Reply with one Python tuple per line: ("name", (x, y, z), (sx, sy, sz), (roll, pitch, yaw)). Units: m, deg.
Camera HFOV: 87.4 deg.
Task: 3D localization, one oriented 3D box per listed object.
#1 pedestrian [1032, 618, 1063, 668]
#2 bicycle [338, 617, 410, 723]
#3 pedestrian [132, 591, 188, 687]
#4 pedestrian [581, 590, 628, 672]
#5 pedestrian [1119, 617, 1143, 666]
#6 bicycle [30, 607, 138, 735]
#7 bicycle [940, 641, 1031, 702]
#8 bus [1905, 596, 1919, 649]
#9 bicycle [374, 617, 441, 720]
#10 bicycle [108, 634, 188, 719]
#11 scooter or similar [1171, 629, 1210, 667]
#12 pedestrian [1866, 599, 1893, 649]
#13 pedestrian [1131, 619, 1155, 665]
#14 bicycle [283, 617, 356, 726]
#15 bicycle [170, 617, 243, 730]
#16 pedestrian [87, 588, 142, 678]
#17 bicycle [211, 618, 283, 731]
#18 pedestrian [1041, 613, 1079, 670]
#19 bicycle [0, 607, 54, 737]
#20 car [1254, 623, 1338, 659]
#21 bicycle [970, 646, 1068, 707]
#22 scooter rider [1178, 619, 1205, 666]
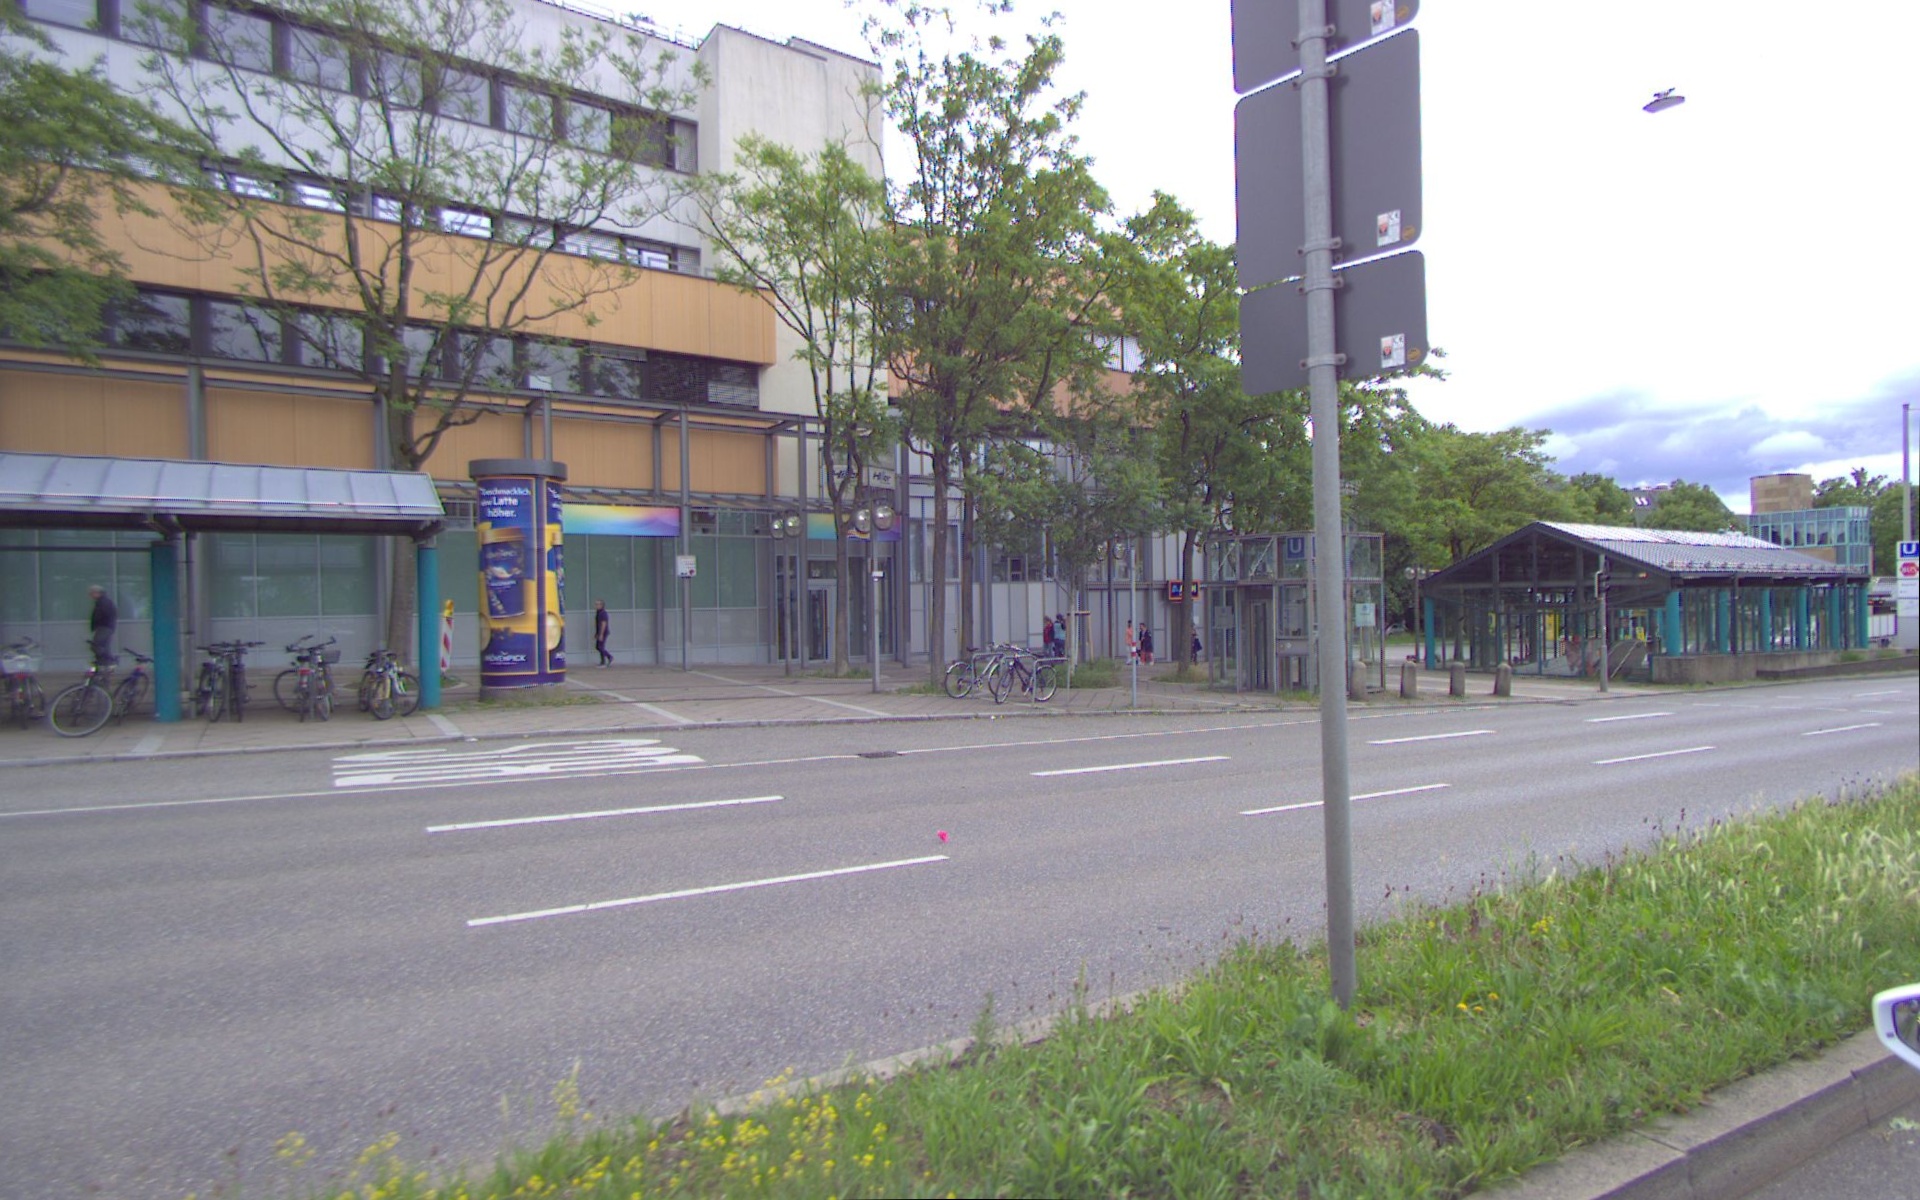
("pedestrian", (2.858, 1.398, 32.825), (0.818, 1.607, 0.629), (1, -2, -38))
("bicycle", (-9.283, 1.045, 15.857), (0.694, 1.526, 2.879), (0, -1, -36))
("pedestrian", (-14.963, 0.717, 18.811), (0.782, 1.739, 0.764), (0, 1, -37))
("pedestrian", (-9.127, 0.794, 25.772), (0.924, 2.040, 0.890), (1, -2, -34))
("pedestrian", (6.143, 1.482, 36.123), (0.674, 1.750, 0.560), (0, -1, -37))
("bicycle", (-12.162, 0.908, 14.033), (0.803, 1.527, 2.880), (0, 1, -34))
("bicycle", (0.533, 1.432, 20.571), (1.943, 1.151, 0.706), (1, -1, -44))
("bus", (67.129, 1.517, 66.526), (10.585, 3.476, 2.824), (1, -2, -25))
("bicycle", (-8.949, 1.046, 16.213), (0.593, 1.526, 2.879), (0, -1, -36))
("bicycle", (-12.267, 1.103, 15.242), (0.798, 1.127, 2.879), (0, -1, -36))
("scooter or similar", (7.954, 1.655, 34.607), (1.271, 1.284, 0.478), (1, 1, -26))
("pedestrian", (37.843, 0.994, 41.339), (0.638, 2.040, 0.677), (1, -1, -32))
("pedestrian", (6.491, 1.497, 35.619), (0.674, 1.610, 0.513), (0, -1, -37))
("bicycle", (-9.916, 1.038, 15.495), (0.771, 1.526, 2.879), (0, -1, -36))
("bicycle", (-11.206, 1.029, 14.988), (0.798, 1.526, 2.879), (0, -1, -36))
("pedestrian", (-16.847, 0.639, 20.036), (0.782, 1.739, 0.764), (0, 1, -37))
("bicycle", (-10.614, 1.035, 14.937), (0.798, 1.526, 2.879), (0, -1, -36))
("pedestrian", (3.159, 1.290, 31.699), (0.879, 1.739, 0.764), (0, 1, -37))
("bicycle", (-13.013, 0.909, 13.544), (0.883, 1.527, 2.878), (0, 1, -36))
("car", (18.069, 2.168, 54.188), (1.979, 1.862, 3.964), (1, -2, -33))
("bicycle", (1.177, 1.469, 19.674), (1.922, 1.098, 0.822), (1, -1, -43))
("scooter rider", (8.000, 1.453, 34.658), (0.697, 1.566, 0.523), (1, 1, -26))
